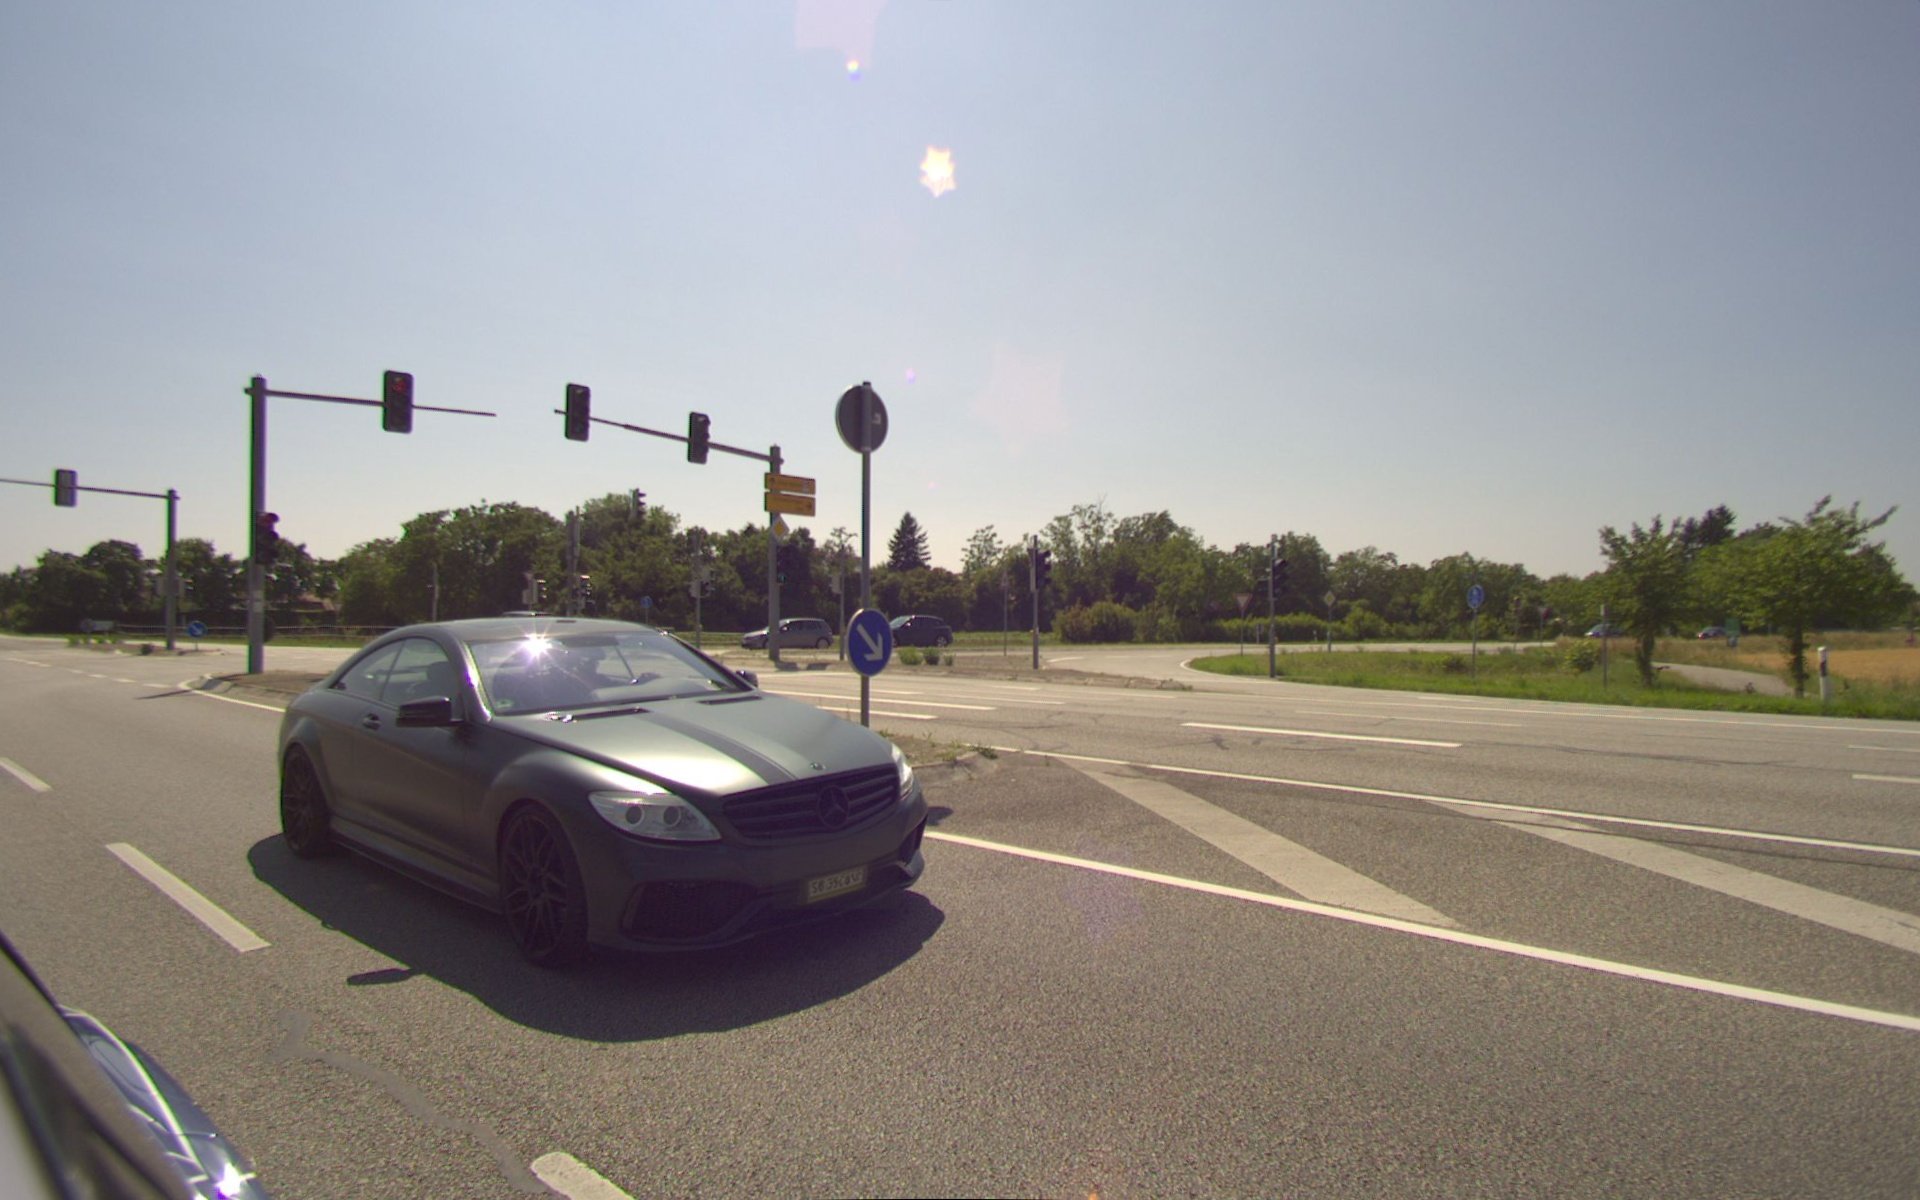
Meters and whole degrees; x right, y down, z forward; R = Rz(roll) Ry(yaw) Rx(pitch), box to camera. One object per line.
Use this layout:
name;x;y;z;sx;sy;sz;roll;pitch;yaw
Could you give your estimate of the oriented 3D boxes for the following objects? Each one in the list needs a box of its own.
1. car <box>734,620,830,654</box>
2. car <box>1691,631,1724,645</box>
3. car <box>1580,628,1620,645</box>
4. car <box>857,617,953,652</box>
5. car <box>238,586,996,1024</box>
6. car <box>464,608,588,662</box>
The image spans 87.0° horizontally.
car;-7.818;1.610;44.629;3.815;1.397;1.639;0;-2;-34
car;76.777;3.933;103.933;3.710;1.397;1.504;2;-2;-32
car;55.565;3.188;87.854;3.710;1.397;1.504;2;-2;-32
car;-2.587;1.629;48.066;4.295;1.606;1.640;2;-2;-32
car;-2.264;0.720;5.674;4.874;1.461;1.792;-1;0;41
car;-13.905;1.074;32.344;4.300;1.612;1.812;0;-2;39
